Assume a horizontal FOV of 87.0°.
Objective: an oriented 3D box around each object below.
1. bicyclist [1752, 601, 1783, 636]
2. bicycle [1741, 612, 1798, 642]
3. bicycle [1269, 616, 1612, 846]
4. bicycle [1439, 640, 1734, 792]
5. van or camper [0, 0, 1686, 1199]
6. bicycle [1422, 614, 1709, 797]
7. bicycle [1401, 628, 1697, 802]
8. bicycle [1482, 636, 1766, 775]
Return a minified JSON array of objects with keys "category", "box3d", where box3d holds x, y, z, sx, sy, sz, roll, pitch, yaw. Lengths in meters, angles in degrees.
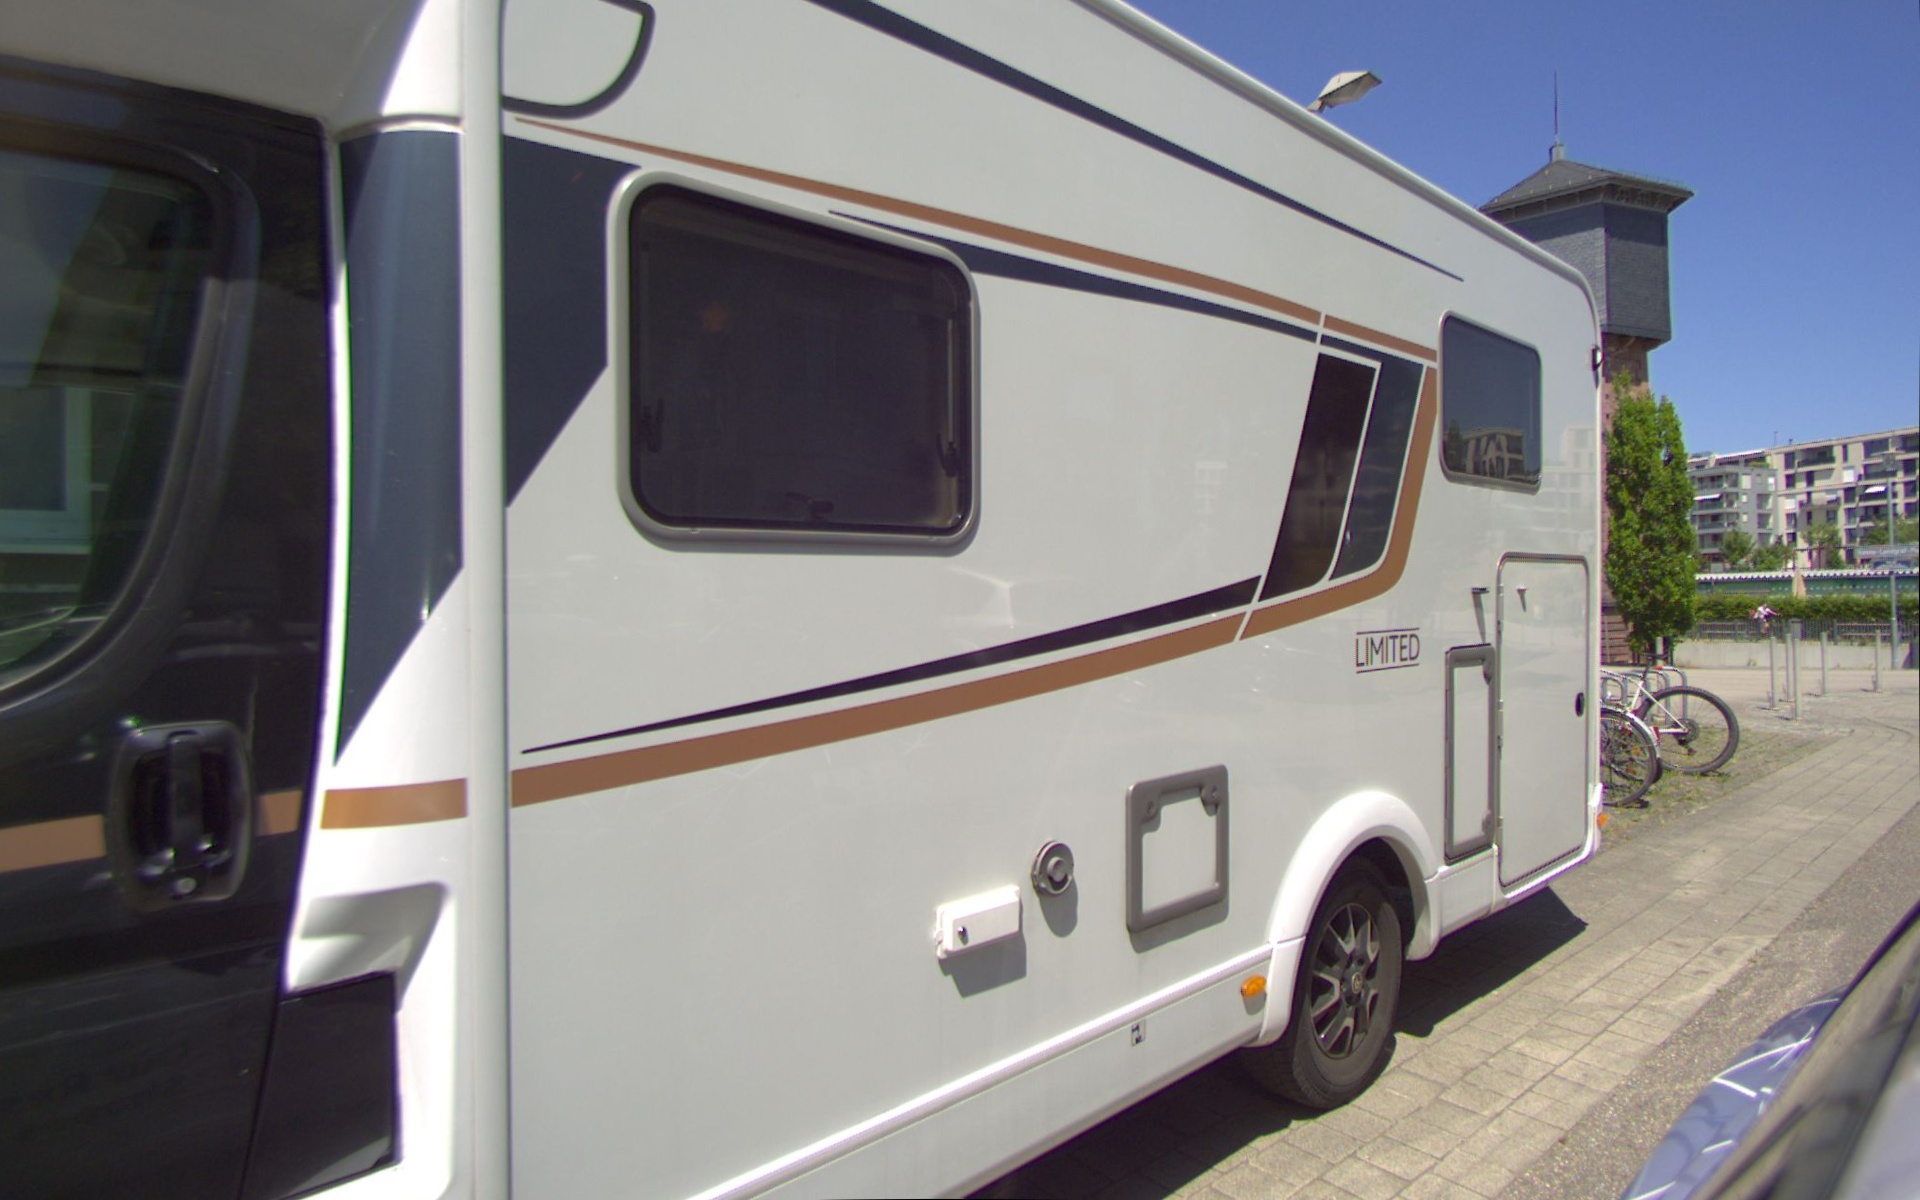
[{"category":"bicyclist","box3d":[34.355,0.782,43.056,0.718,1.453,0.661,-1,-2,-11]},{"category":"bicycle","box3d":[34.364,1.136,42.971,0.579,1.214,1.944,-1,-1,-11]},{"category":"bicycle","box3d":[3.105,0.753,6.612,1.909,1.238,0.816,1,0,35]},{"category":"bicycle","box3d":[5.079,0.879,8.347,0.926,0.987,1.862,0,1,-27]},{"category":"van or camper","box3d":[-0.366,-0.036,3.091,7.691,2.943,2.442,-1,-1,-41]},{"category":"bicycle","box3d":[4.644,0.743,7.897,0.545,1.238,1.854,0,0,-38]},{"category":"bicycle","box3d":[4.364,0.795,7.653,0.467,1.125,1.887,0,-1,-38]},{"category":"bicycle","box3d":[5.813,0.864,8.936,2.022,1.016,0.863,0,0,39]}]
